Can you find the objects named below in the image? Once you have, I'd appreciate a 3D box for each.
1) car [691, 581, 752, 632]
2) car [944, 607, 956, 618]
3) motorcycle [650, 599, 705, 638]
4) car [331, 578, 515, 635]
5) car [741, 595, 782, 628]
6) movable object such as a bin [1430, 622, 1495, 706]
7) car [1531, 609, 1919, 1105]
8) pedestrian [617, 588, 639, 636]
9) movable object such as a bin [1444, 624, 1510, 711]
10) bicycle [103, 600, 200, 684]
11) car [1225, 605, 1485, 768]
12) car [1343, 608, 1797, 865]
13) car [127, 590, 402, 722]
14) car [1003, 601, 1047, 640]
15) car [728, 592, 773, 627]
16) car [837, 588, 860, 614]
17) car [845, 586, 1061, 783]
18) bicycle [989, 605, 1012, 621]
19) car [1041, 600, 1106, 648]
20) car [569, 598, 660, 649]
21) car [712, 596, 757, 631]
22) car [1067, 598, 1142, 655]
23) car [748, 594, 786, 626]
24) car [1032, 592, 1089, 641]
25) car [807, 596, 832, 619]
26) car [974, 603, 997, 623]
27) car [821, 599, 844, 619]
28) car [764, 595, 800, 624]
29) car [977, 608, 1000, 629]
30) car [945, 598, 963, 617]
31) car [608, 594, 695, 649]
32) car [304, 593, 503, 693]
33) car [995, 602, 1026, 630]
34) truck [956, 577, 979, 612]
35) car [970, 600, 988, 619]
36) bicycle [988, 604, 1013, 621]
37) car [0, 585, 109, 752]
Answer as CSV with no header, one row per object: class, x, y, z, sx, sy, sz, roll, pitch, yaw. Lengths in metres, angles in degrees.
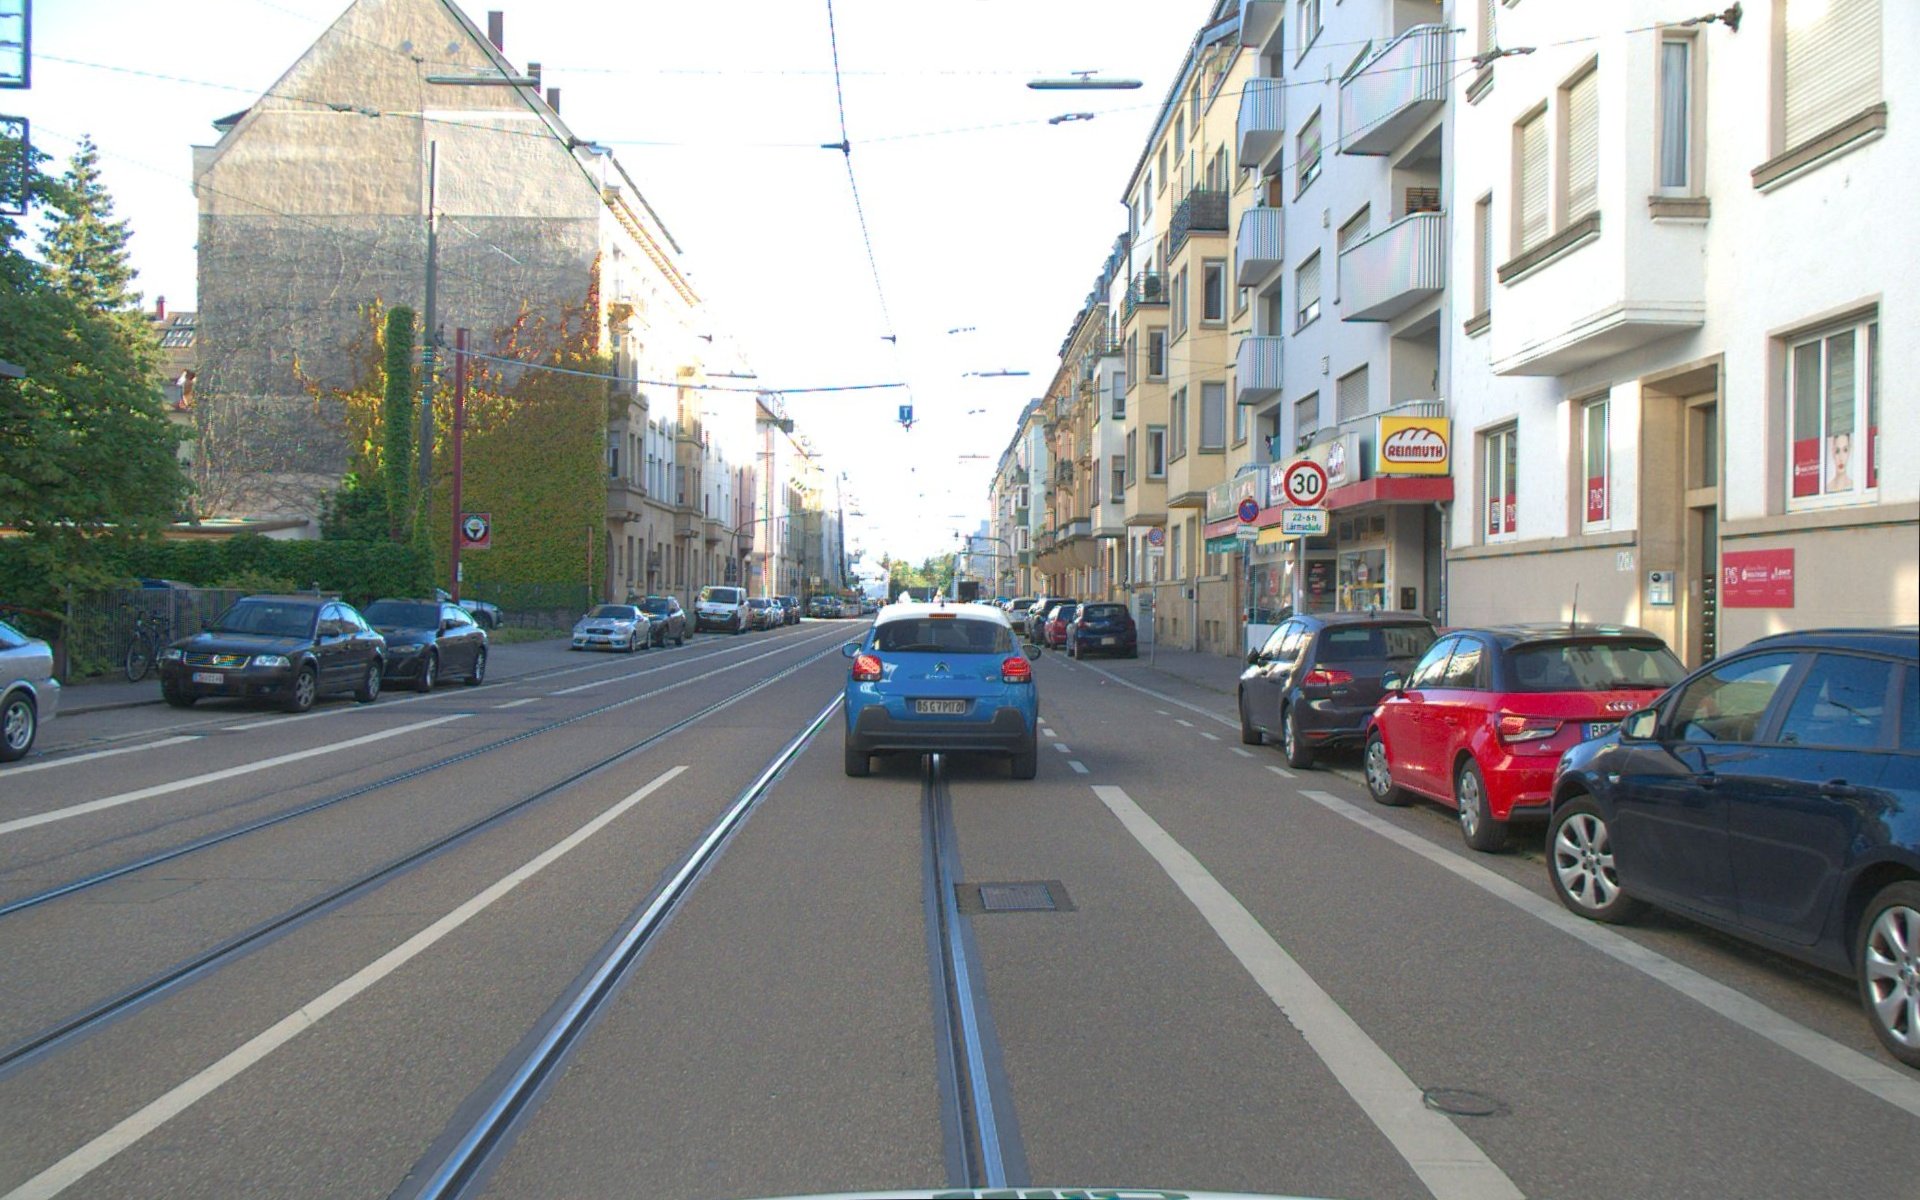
car,-10.164,0.272,70.953,1.933,1.983,5.250,3,0,-2
car,-1.449,1.731,236.277,1.729,1.513,4.031,0,0,-1
motorcycle,-10.136,0.666,59.366,0.867,1.375,1.953,1,0,31
car,-15.563,0.195,48.045,4.740,1.544,1.976,1,0,-35
car,-10.333,0.593,86.246,1.736,1.574,4.363,3,0,-3
movable object such as a bin,6.712,0.853,22.102,0.662,1.091,0.569,1,0,-2
car,3.991,0.838,6.853,1.819,1.534,4.095,-2,0,0
pedestrian,-12.424,0.447,61.928,0.666,1.754,0.616,1,0,-1
movable object such as a bin,6.714,0.867,21.499,0.662,1.091,0.569,1,0,-2
bicycle,-12.128,0.612,24.880,0.430,1.195,2.050,1,0,0
car,3.979,0.802,17.377,1.675,1.432,4.358,-2,0,0
car,4.177,0.839,12.064,1.819,1.498,3.988,-2,0,0
car,-9.180,0.680,22.301,1.747,1.507,4.698,3,0,-2
car,2.994,0.936,77.187,1.805,1.720,4.504,1,0,-1
car,-10.230,0.460,80.957,1.747,1.550,4.358,3,0,-2
car,-11.202,0.102,166.921,2.102,2.518,4.977,3,0,-3
car,-0.075,0.693,15.488,1.700,1.533,3.991,3,0,-1
bicycle,3.066,0.979,126.382,1.687,1.174,0.469,-3,0,-1
car,3.680,0.757,54.310,1.821,1.481,4.709,1,0,0
car,-9.847,0.650,47.416,1.747,1.337,4.220,3,0,-1
car,-10.381,0.617,76.374,1.570,1.498,3.645,3,0,-1
car,3.950,0.708,45.744,1.683,1.517,4.001,0,0,-1
car,-10.627,0.528,91.440,1.748,1.650,4.177,3,0,-3
car,3.652,0.599,60.777,1.821,1.695,4.561,1,0,0
car,-11.198,0.561,132.264,1.748,1.720,4.665,3,0,-3
car,2.127,1.102,138.156,1.747,1.603,4.325,0,0,-1
car,-11.066,0.779,143.473,1.748,1.655,4.606,3,0,-3
car,-10.431,0.554,97.258,1.747,1.580,3.018,3,0,-1
car,2.255,1.443,132.172,1.747,1.660,3.999,0,0,-1
car,-0.655,0.809,180.191,1.784,1.927,3.999,2,0,-1
car,-9.759,0.659,52.603,1.746,1.593,4.611,3,0,1
car,-9.345,0.675,28.230,1.747,1.471,4.841,3,0,-1
car,2.989,0.948,98.702,1.717,1.622,3.729,1,0,0
truck,0.922,-0.628,203.186,2.794,4.154,11.270,0,0,0
car,1.823,0.931,161.363,1.695,1.859,4.685,0,0,-1
bicycle,3.069,0.968,125.018,1.805,1.174,0.469,-3,0,-1
car,-9.164,0.566,13.804,1.747,1.423,4.445,3,0,0
